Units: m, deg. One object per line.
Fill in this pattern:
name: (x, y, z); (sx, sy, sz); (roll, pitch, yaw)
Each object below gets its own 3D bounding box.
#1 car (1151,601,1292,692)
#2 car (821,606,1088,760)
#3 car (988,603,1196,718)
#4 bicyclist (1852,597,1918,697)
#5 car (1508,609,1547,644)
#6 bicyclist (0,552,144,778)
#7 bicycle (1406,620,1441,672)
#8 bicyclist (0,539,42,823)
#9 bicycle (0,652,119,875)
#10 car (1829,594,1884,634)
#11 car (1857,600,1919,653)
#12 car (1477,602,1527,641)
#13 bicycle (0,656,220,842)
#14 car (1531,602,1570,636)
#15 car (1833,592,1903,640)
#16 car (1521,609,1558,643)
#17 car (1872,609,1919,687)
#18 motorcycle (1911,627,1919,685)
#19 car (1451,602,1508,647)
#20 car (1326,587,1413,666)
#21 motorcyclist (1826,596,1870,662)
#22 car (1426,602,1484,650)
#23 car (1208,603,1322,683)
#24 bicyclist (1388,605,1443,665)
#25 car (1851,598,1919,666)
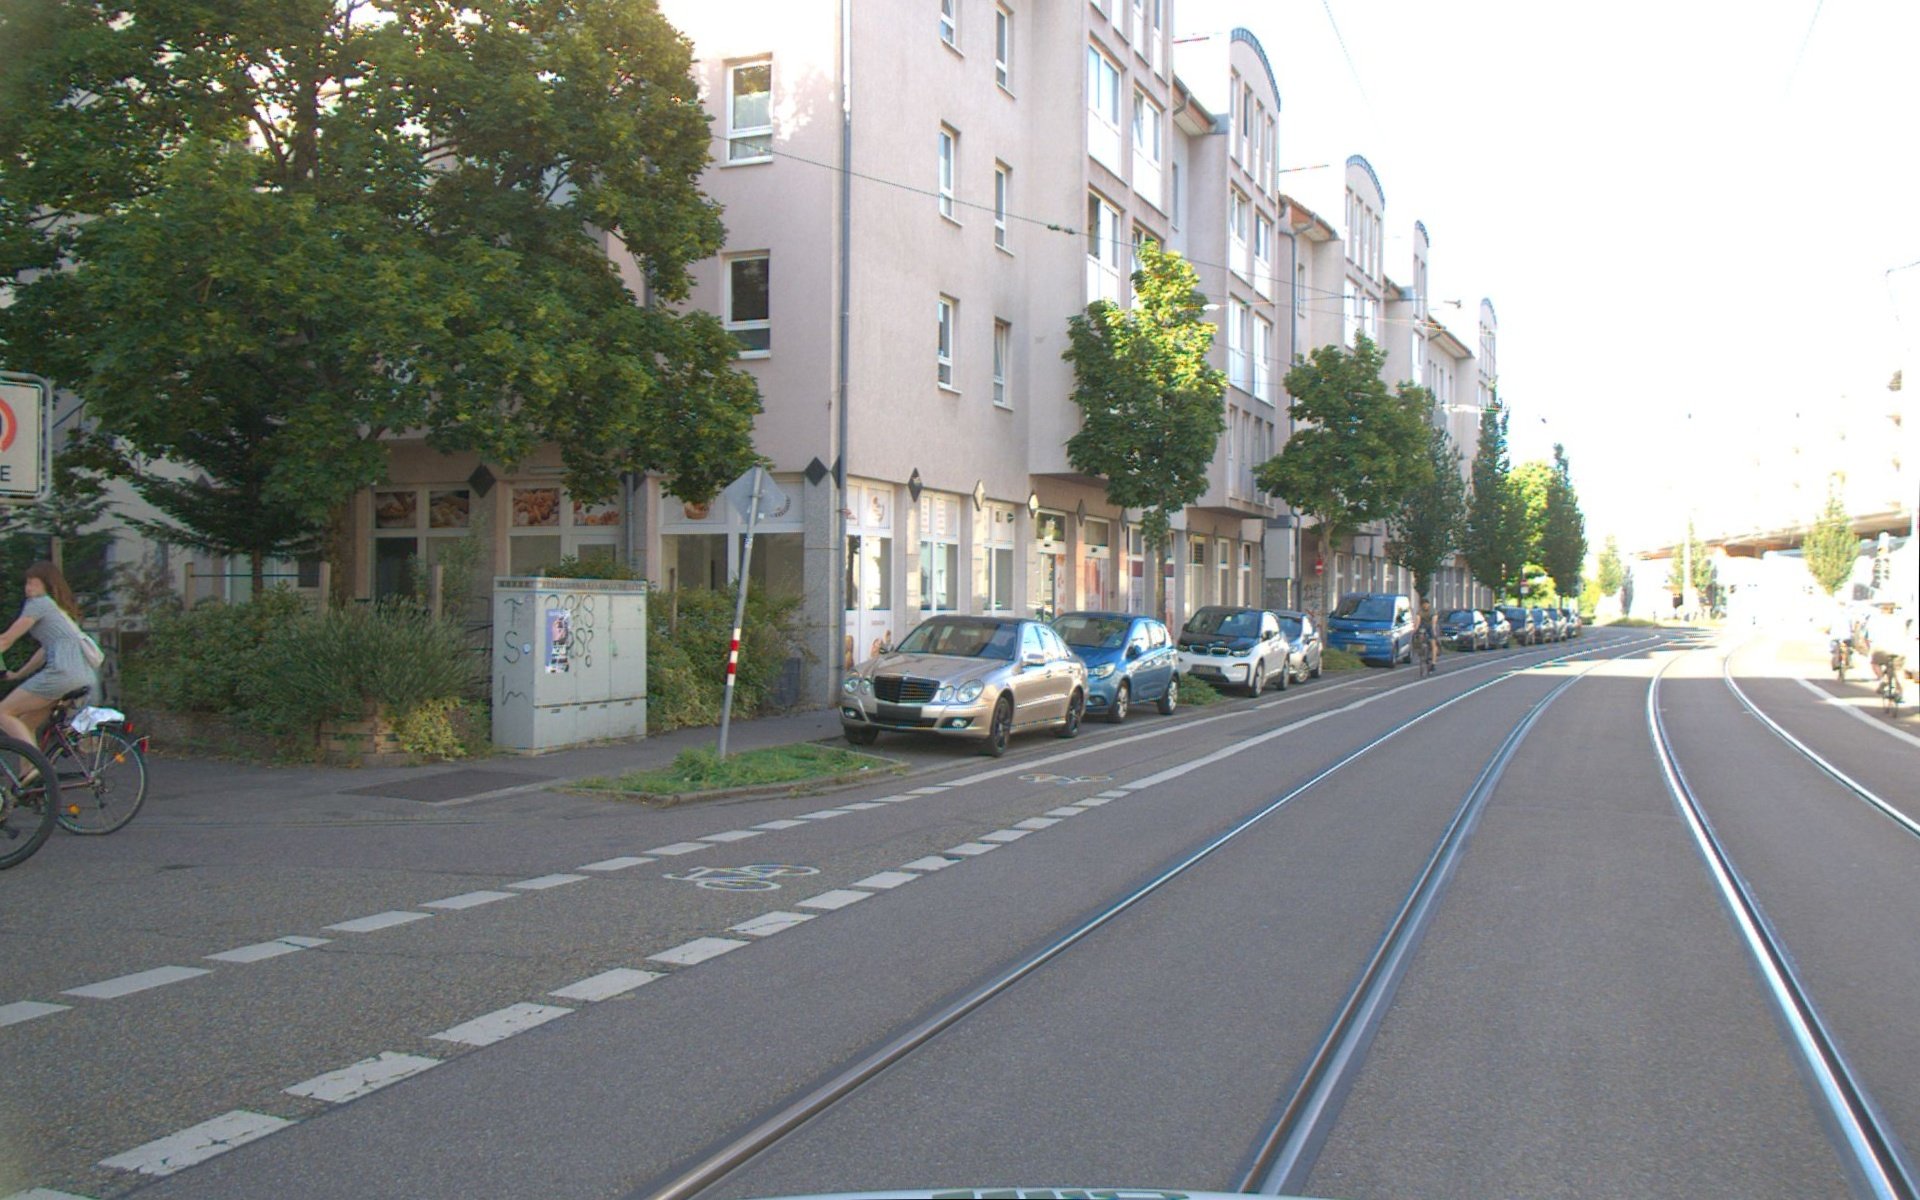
car: (5.092, 0.837, 31.851); (1.792, 1.621, 3.999); (0, 0, 23)
car: (0.064, 0.845, 18.863); (1.708, 1.468, 4.001); (2, 1, 20)
car: (2.033, 0.842, 24.353); (1.793, 1.516, 3.998); (-2, -1, 24)
bicyclist: (14.056, 0.694, 25.161); (0.712, 1.487, 1.021); (0, 0, 20)
car: (25.976, 1.199, 75.629); (1.559, 1.567, 3.191); (0, 0, 22)
bicyclist: (-5.975, 0.433, 10.910); (0.849, 1.404, 0.623); (-4, -2, -9)
bicycle: (10.678, 1.046, 38.099); (0.609, 1.121, 1.961); (-2, -1, 20)
bicyclist: (-5.802, 0.467, 9.248); (0.849, 1.589, 0.883); (-3, -1, -8)
bicycle: (-6.041, 0.877, 9.252); (2.185, 1.169, 0.839); (2, 0, -11)
car: (39.326, 0.602, 72.590); (1.807, 1.674, 4.211); (0, 0, 24)
car: (30.756, 0.831, 54.340); (1.806, 1.674, 3.965); (0, 0, 22)
car: (23.643, 0.906, 72.025); (1.806, 1.674, 4.548); (0, 0, 22)
bicycle: (-6.147, 0.961, 10.864); (2.184, 1.169, 0.840); (0, -2, -10)
car: (30.360, 0.967, 85.004); (1.806, 1.674, 3.697); (0, 0, 22)
car: (34.965, 0.595, 63.791); (1.806, 1.787, 4.548); (0, 0, 22)
car: (27.944, 1.238, 79.670); (1.559, 1.567, 3.191); (0, 0, 22)
car: (22.467, 1.070, 38.260); (1.806, 1.674, 4.548); (0, 0, 22)
motorcycle: (19.895, 1.139, 32.969); (0.483, 1.164, 1.762); (0, 0, -18)
car: (20.309, 0.914, 64.521); (1.806, 1.674, 4.548); (0, 0, 22)
car: (11.151, 0.685, 44.818); (1.631, 2.021, 4.341); (0, 0, 23)
motorcyclist: (19.431, 0.622, 36.216); (0.712, 1.430, 1.021); (0, 0, 20)
car: (17.699, 0.905, 59.008); (1.631, 1.646, 4.000); (0, 0, 22)
car: (6.707, 0.881, 36.058); (1.792, 1.621, 4.001); (0, 0, 20)
bicyclist: (10.484, 0.792, 38.067); (1.158, 1.354, 1.095); (0, 0, 19)
car: (24.321, 0.796, 42.766); (1.806, 1.674, 3.961); (0, 0, 22)
